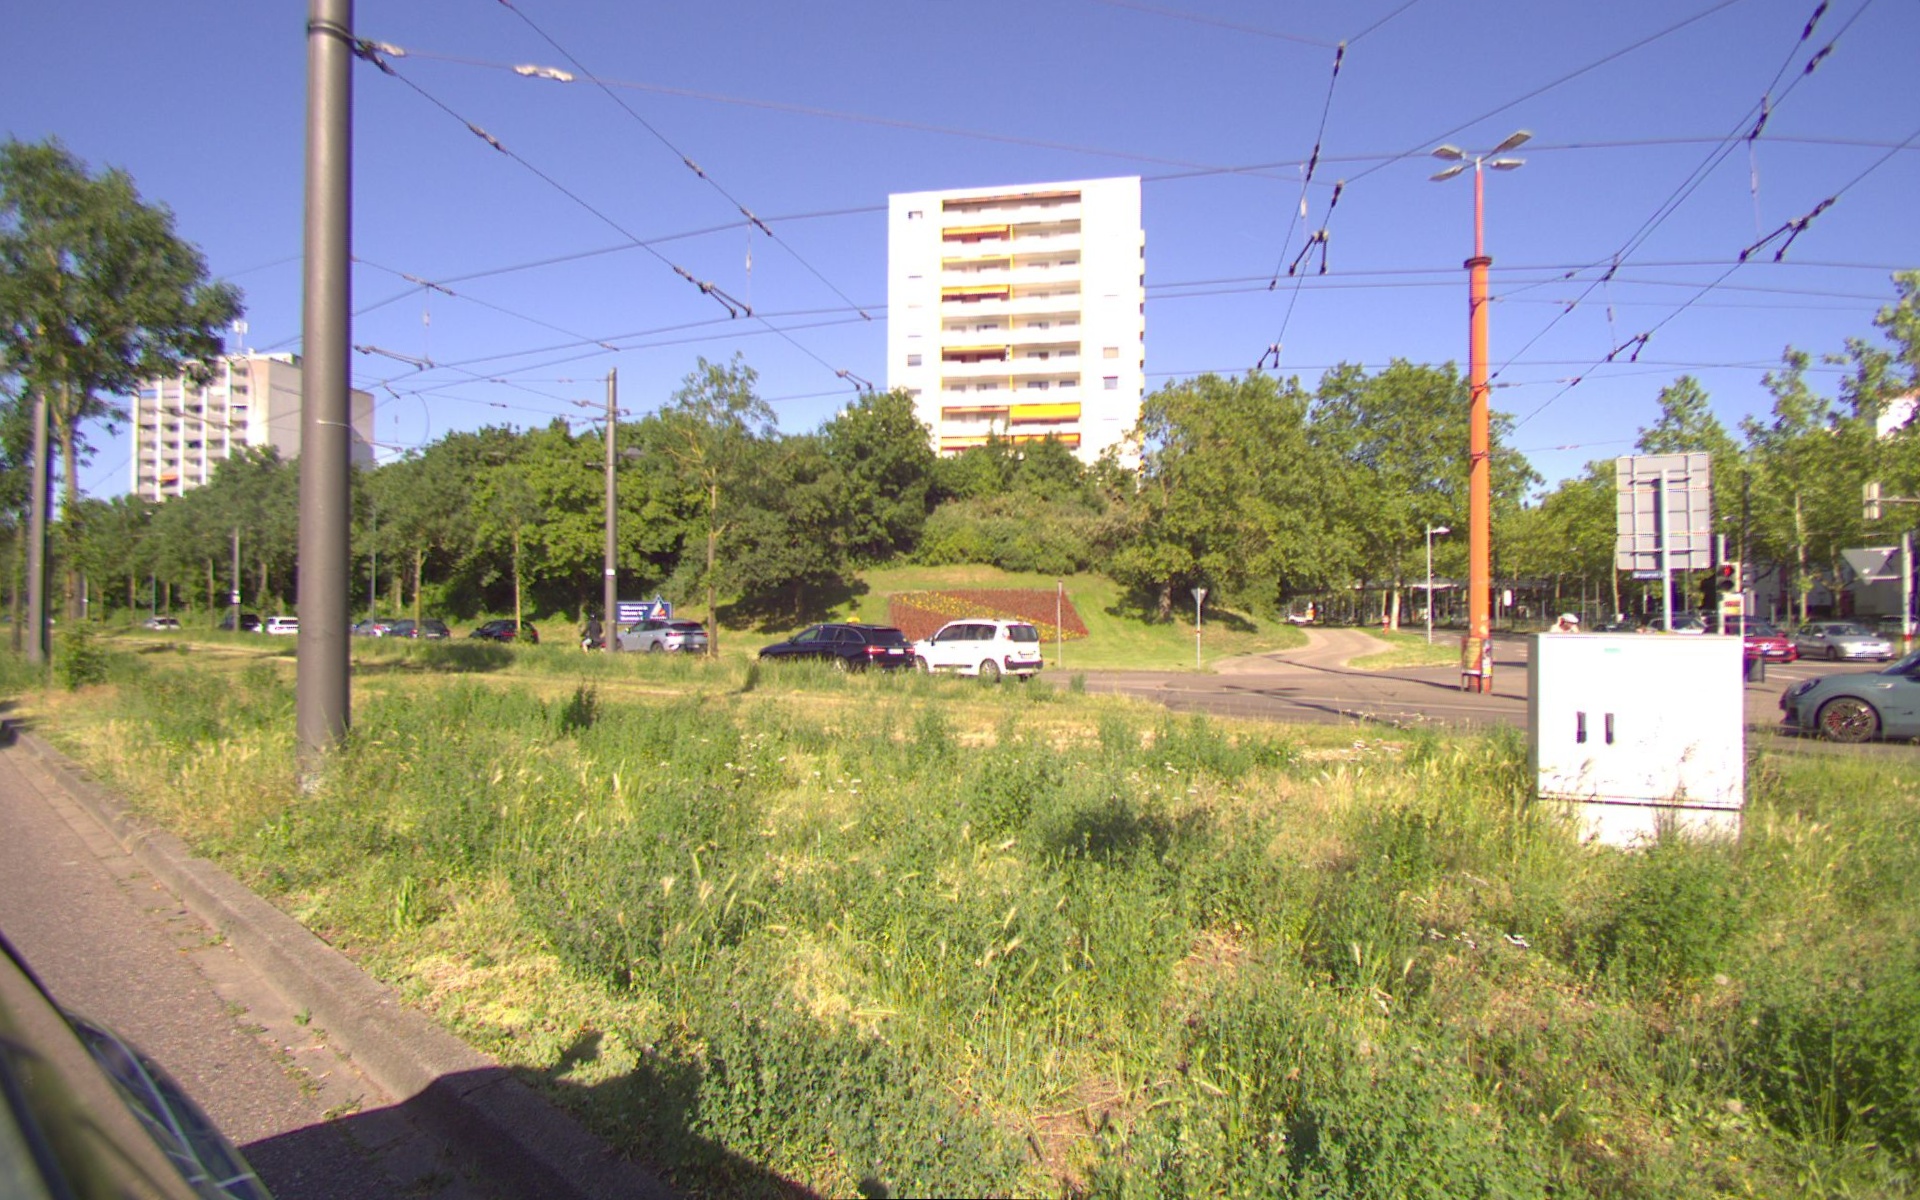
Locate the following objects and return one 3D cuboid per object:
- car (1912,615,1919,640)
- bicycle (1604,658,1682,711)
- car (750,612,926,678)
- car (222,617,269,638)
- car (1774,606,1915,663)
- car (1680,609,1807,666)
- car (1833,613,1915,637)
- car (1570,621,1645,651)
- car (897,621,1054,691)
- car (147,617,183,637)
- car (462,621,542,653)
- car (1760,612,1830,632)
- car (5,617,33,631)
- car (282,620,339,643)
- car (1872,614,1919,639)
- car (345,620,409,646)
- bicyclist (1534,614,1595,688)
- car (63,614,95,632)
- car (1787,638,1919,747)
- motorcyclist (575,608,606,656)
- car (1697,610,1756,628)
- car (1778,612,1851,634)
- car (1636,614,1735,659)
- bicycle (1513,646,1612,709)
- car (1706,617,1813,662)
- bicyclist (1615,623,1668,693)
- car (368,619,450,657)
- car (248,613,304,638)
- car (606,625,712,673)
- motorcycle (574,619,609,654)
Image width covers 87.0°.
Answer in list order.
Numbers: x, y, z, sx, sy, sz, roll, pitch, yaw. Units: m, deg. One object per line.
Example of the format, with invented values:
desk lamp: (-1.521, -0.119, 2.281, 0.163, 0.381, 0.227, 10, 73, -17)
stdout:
car: (64.140, 1.769, 65.012, 1.864, 1.608, 4.010, 0, 0, -34)
bicycle: (13.365, 1.635, 19.846, 0.363, 0.889, 1.627, -1, 0, -2)
car: (-3.166, 1.072, 25.652, 4.603, 1.496, 1.856, -1, 0, 41)
car: (-53.375, 2.005, 75.550, 4.631, 1.492, 1.972, -1, 0, 43)
car: (32.169, 1.207, 36.975, 1.979, 1.915, 4.259, -1, 0, 11)
car: (28.672, 1.326, 37.214, 1.979, 1.915, 4.259, -1, 0, 11)
car: (65.531, 1.781, 72.617, 1.864, 1.608, 4.010, 0, 0, -34)
car: (31.612, 1.718, 49.527, 1.718, 1.332, 3.985, -1, 0, 11)
car: (0.351, 1.428, 27.023, 4.060, 1.720, 1.781, -1, -2, 43)
car: (-60.498, 2.046, 76.989, 4.183, 1.484, 1.571, -1, -2, 44)
car: (-20.898, 1.665, 46.077, 4.030, 1.352, 1.841, -1, -2, 42)
car: (68.295, 1.787, 82.836, 1.864, 1.608, 4.010, 0, 0, -34)
car: (-102.982, 2.601, 110.759, 4.992, 1.420, 1.971, -1, 0, 44)
car: (-42.794, 2.042, 66.633, 4.693, 1.443, 1.972, -1, -2, 42)
car: (64.821, 1.775, 68.717, 1.864, 1.608, 4.010, 0, 0, -34)
car: (-33.012, 1.828, 57.272, 4.400, 1.384, 1.972, -1, 0, 43)
bicyclist: (12.132, 1.005, 20.345, 0.741, 1.441, 0.757, -1, 0, -1)
car: (-80.122, 2.118, 92.039, 3.757, 1.620, 1.744, -1, -2, 42)
car: (13.871, 1.263, 13.625, 4.141, 1.398, 1.414, -1, 0, 44)
motorcyclist: (-12.714, 1.087, 34.833, 0.825, 1.611, 0.641, 0, 0, -41)
car: (71.653, 1.793, 94.705, 1.864, 1.608, 4.010, 0, 0, -34)
car: (67.069, 1.788, 79.511, 1.864, 1.608, 4.010, 0, 0, -34)
car: (30.702, 1.512, 42.954, 1.893, 1.763, 3.985, -1, 0, 11)
bicycle: (12.121, 1.525, 20.449, 0.467, 1.089, 2.362, -1, 0, -3)
car: (33.542, 1.616, 42.588, 1.893, 1.763, 3.985, -1, 0, 11)
bicyclist: (13.345, 1.119, 19.824, 0.540, 1.333, 0.700, -1, 0, -2)
car: (-24.510, 1.671, 44.928, 4.465, 1.606, 1.971, -1, -2, 44)
car: (-39.933, 1.487, 59.067, 4.642, 1.433, 1.685, -1, -2, 42)
car: (-11.156, 1.766, 37.385, 4.439, 1.613, 1.817, -1, -2, 44)
motorcycle: (-12.664, 1.231, 34.740, 0.416, 1.140, 2.098, 0, 0, -41)
